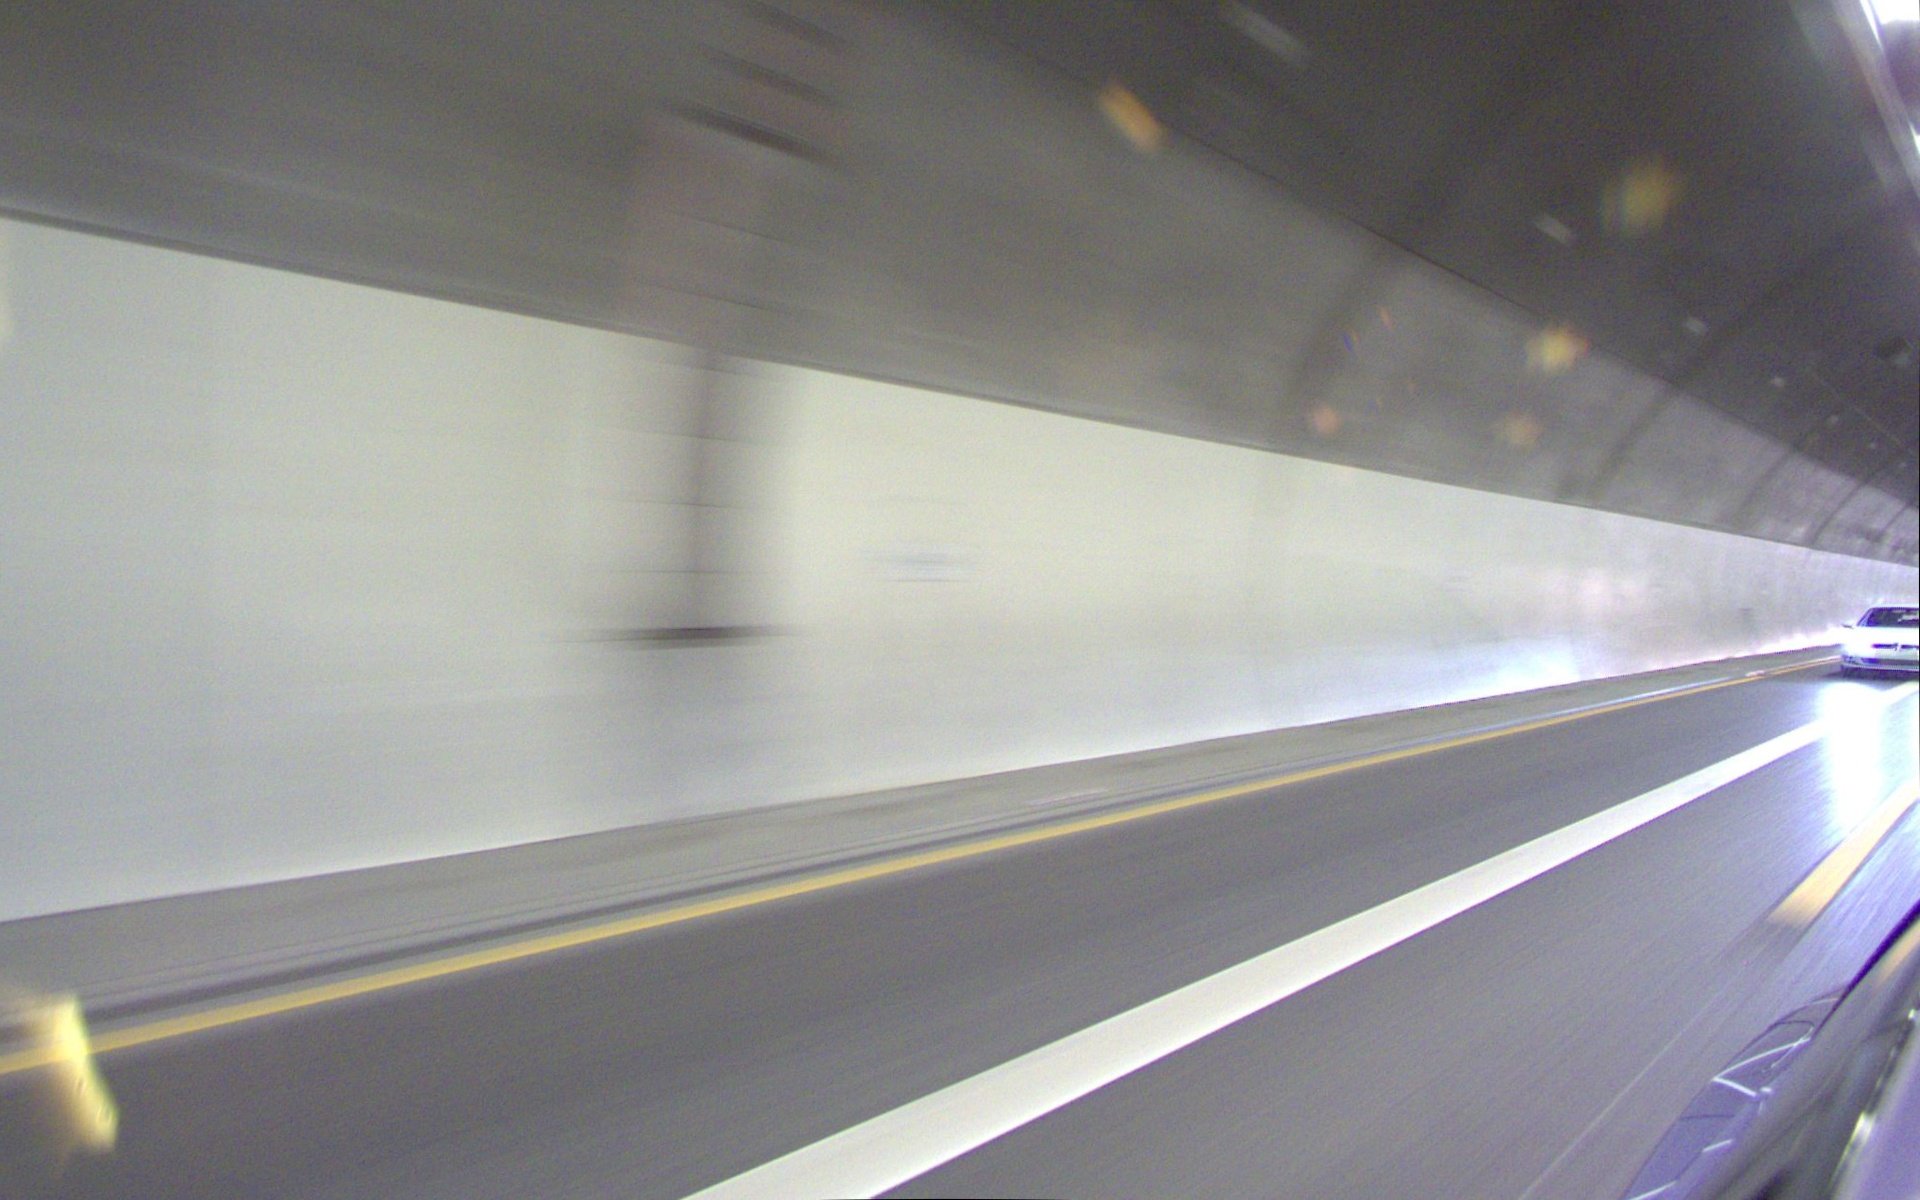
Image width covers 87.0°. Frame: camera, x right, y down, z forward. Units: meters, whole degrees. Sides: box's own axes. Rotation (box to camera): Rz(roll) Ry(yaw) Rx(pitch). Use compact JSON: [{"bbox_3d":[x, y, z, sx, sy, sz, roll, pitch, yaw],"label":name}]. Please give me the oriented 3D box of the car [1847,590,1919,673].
[{"bbox_3d":[18.827,0.577,19.689,3.963,1.479,1.801,0,1,-41],"label":"car"}]
